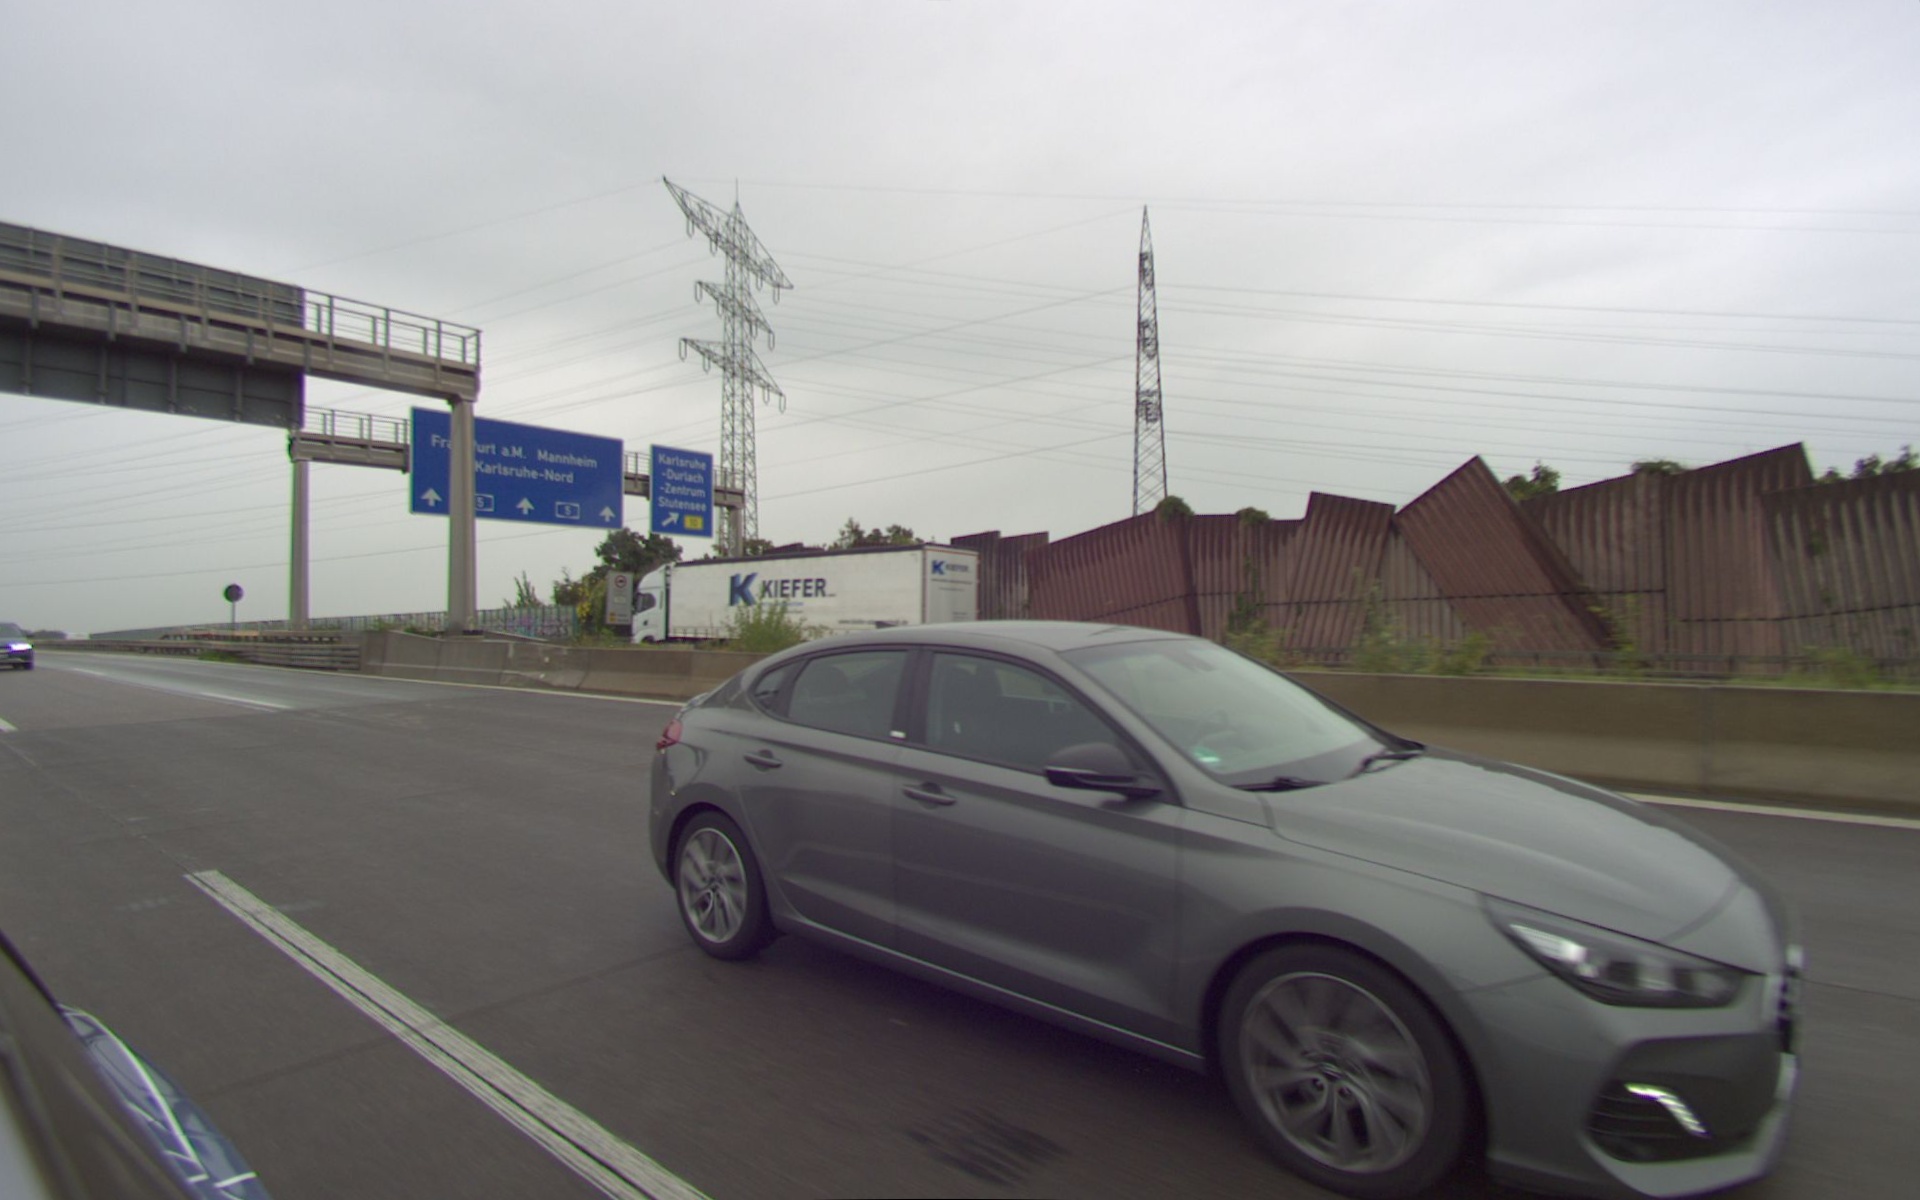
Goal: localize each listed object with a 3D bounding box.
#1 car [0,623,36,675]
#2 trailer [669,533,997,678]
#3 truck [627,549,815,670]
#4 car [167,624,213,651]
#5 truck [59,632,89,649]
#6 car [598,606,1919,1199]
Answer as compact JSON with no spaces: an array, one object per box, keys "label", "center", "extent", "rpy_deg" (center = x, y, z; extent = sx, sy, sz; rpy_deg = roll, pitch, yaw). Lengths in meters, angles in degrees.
[{"label":"car","center":[-31.985,1.591,33.269],"extent":[5.153,1.606,1.819],"rpy_deg":[-1,-1,41]},{"label":"trailer","center":[-4.950,0.271,35.090],"extent":[13.564,4.218,3.024],"rpy_deg":[-2,0,42]},{"label":"truck","center":[-9.355,0.390,39.017],"extent":[7.884,4.218,3.024],"rpy_deg":[-2,0,41]},{"label":"car","center":[-59.632,2.898,78.372],"extent":[4.169,1.946,1.973],"rpy_deg":[-2,0,41]},{"label":"truck","center":[-103.082,4.699,117.723],"extent":[5.246,1.945,1.973],"rpy_deg":[-2,-2,41]},{"label":"car","center":[0.668,0.764,3.788],"extent":[4.827,1.413,1.707],"rpy_deg":[-1,-1,42]}]
